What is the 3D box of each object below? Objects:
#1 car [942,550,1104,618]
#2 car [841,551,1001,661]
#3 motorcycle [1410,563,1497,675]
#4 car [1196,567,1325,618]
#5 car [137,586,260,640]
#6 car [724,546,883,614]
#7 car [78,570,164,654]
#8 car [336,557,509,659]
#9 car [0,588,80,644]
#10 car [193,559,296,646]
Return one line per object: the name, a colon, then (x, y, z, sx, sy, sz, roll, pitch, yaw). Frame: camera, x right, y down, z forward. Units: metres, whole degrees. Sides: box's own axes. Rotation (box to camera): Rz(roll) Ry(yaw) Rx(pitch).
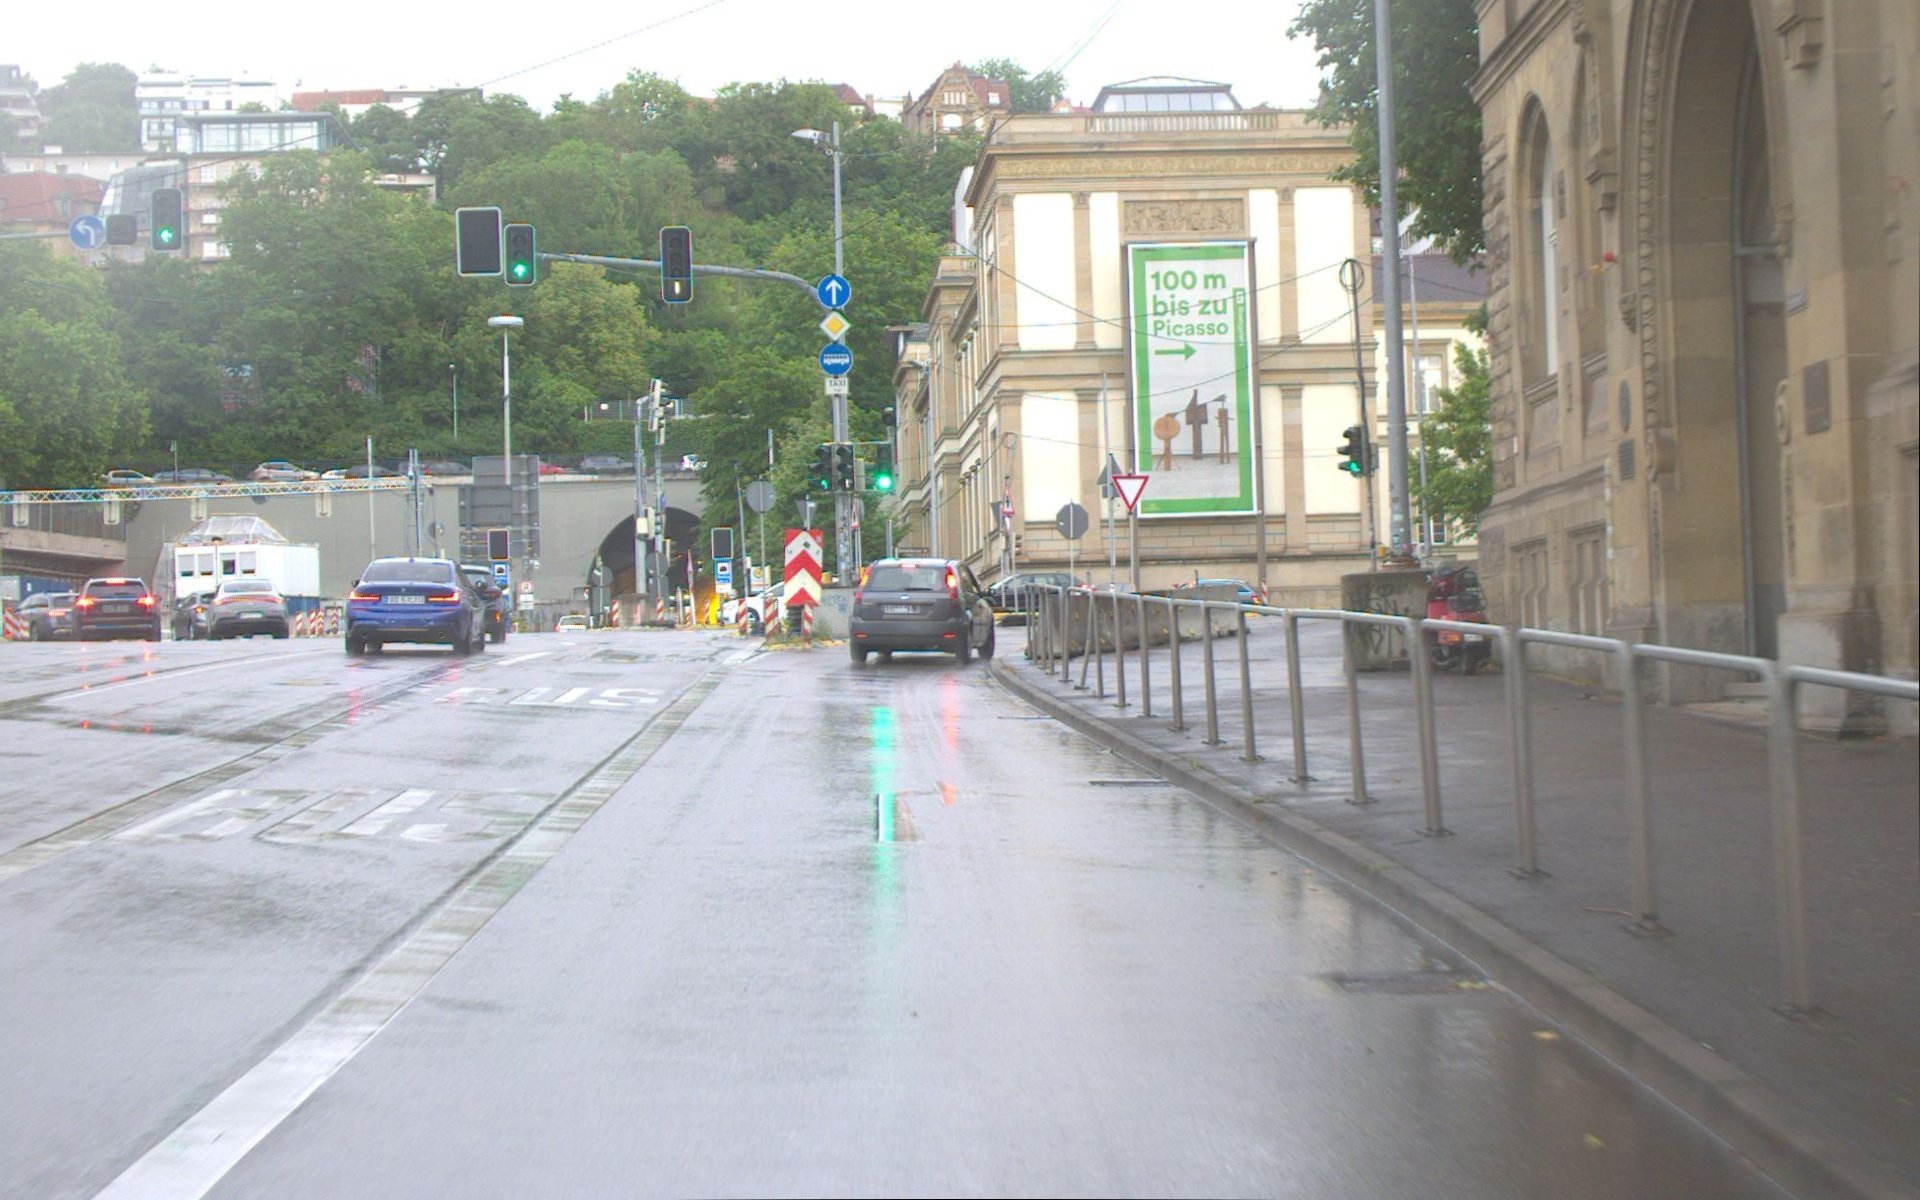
car: (1.874, -0.500, 103.281, 4.674, 2.007, 2.000, 0, 1, -6)
car: (-0.501, 0.050, 47.804, 1.670, 1.422, 3.756, 1, 1, 8)
motorcycle: (5.169, 0.189, 36.095, 0.546, 1.134, 1.899, -1, 1, -2)
car: (10.199, -0.259, 116.765, 4.180, 1.695, 1.823, 0, 1, -1)
car: (-21.432, 0.352, 96.665, 1.776, 1.459, 3.999, -1, 1, -39)
car: (-4.689, -0.606, 102.492, 4.625, 2.007, 2.000, 0, 1, -6)
car: (-18.385, 0.234, 75.272, 1.775, 1.744, 4.001, 0, 1, -14)
car: (-7.985, 0.092, 51.419, 1.993, 1.433, 4.000, -1, 1, -1)
car: (-25.267, 0.420, 94.293, 1.775, 1.459, 4.001, 0, 1, -20)
car: (-17.178, 0.041, 82.378, 1.993, 2.007, 4.296, 0, 1, -17)
